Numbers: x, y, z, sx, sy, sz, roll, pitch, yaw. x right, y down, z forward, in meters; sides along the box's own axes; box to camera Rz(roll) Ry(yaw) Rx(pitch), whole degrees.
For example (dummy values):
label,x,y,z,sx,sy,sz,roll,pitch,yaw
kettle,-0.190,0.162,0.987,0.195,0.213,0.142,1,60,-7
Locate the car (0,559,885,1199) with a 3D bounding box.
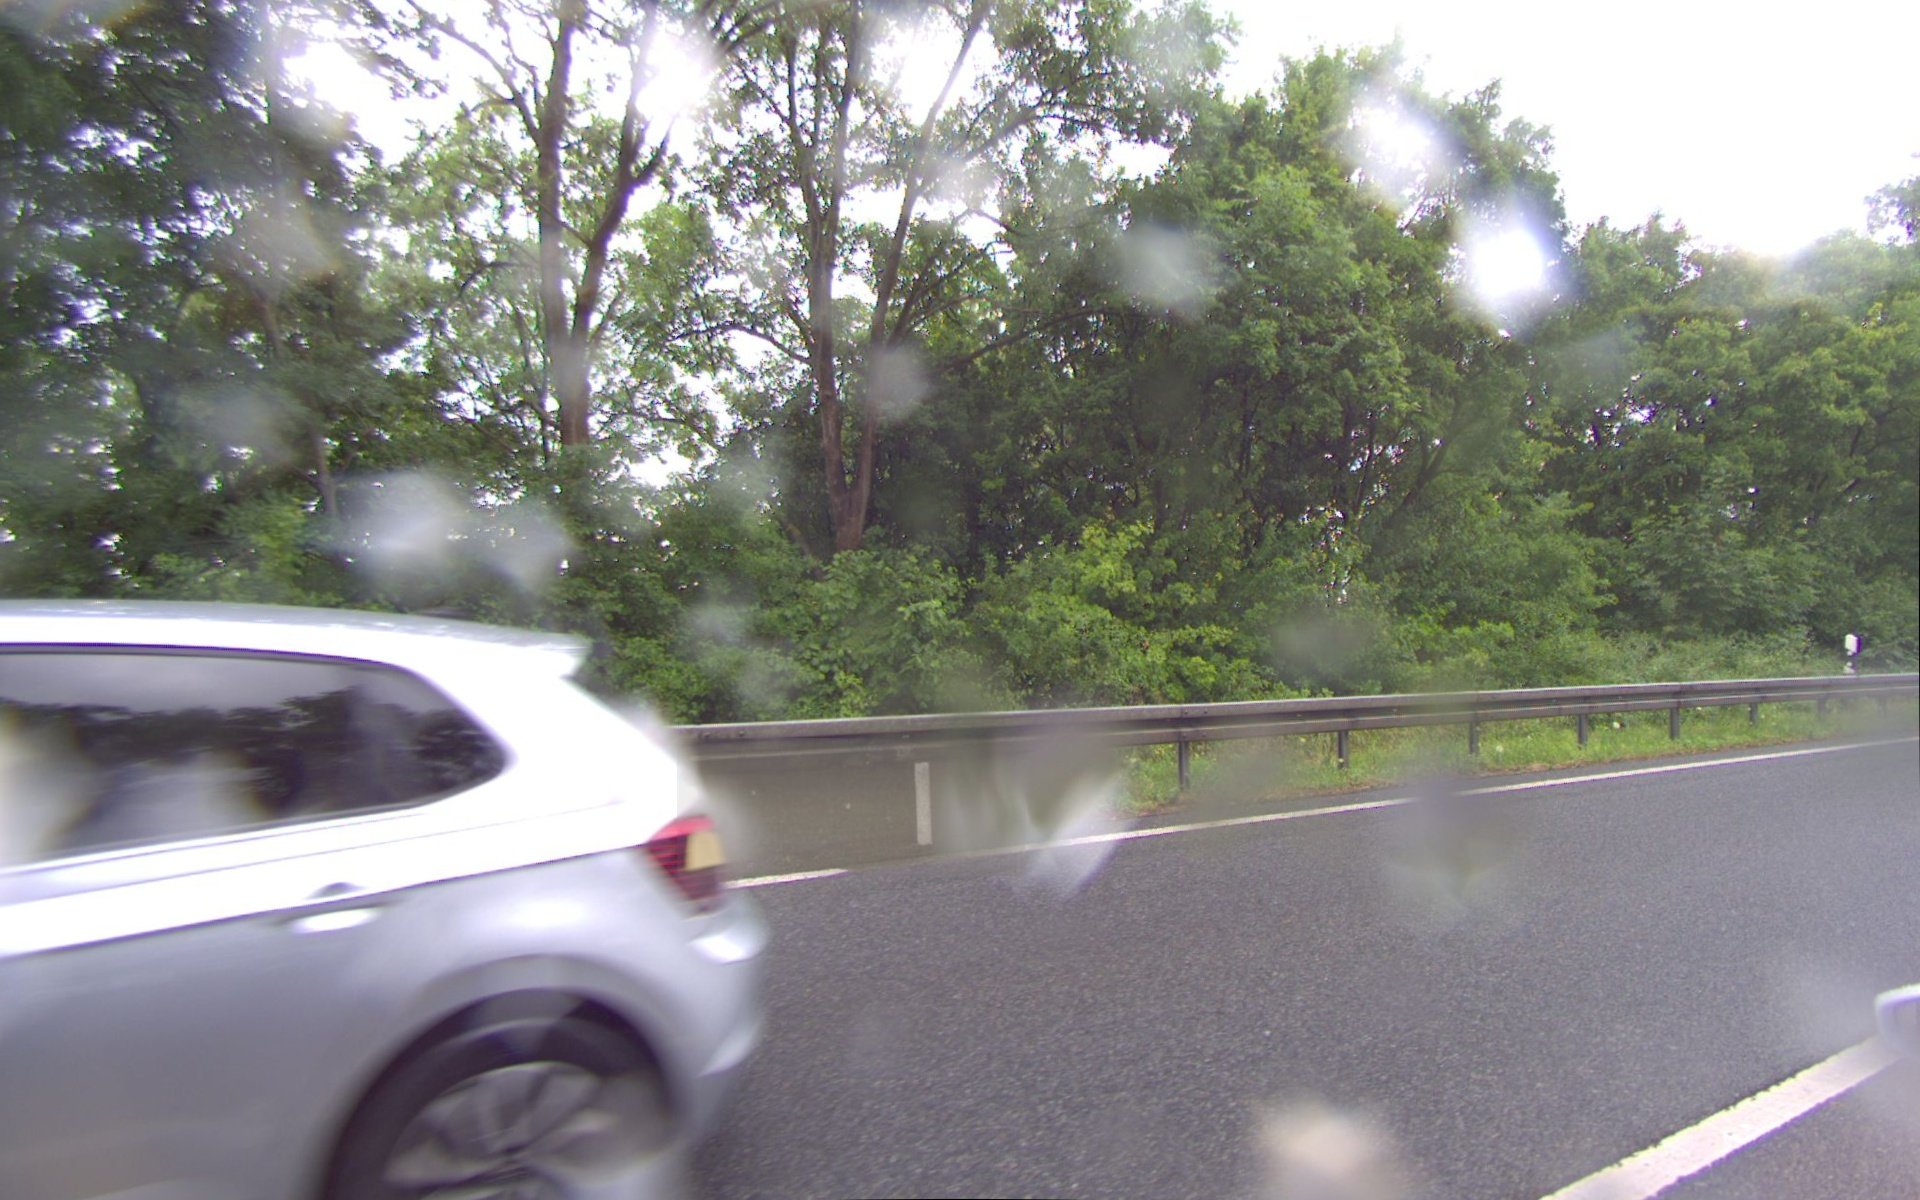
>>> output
label,x,y,z,sx,sy,sz,roll,pitch,yaw
car,-2.260,0.640,2.184,3.804,1.450,1.720,2,0,-30
